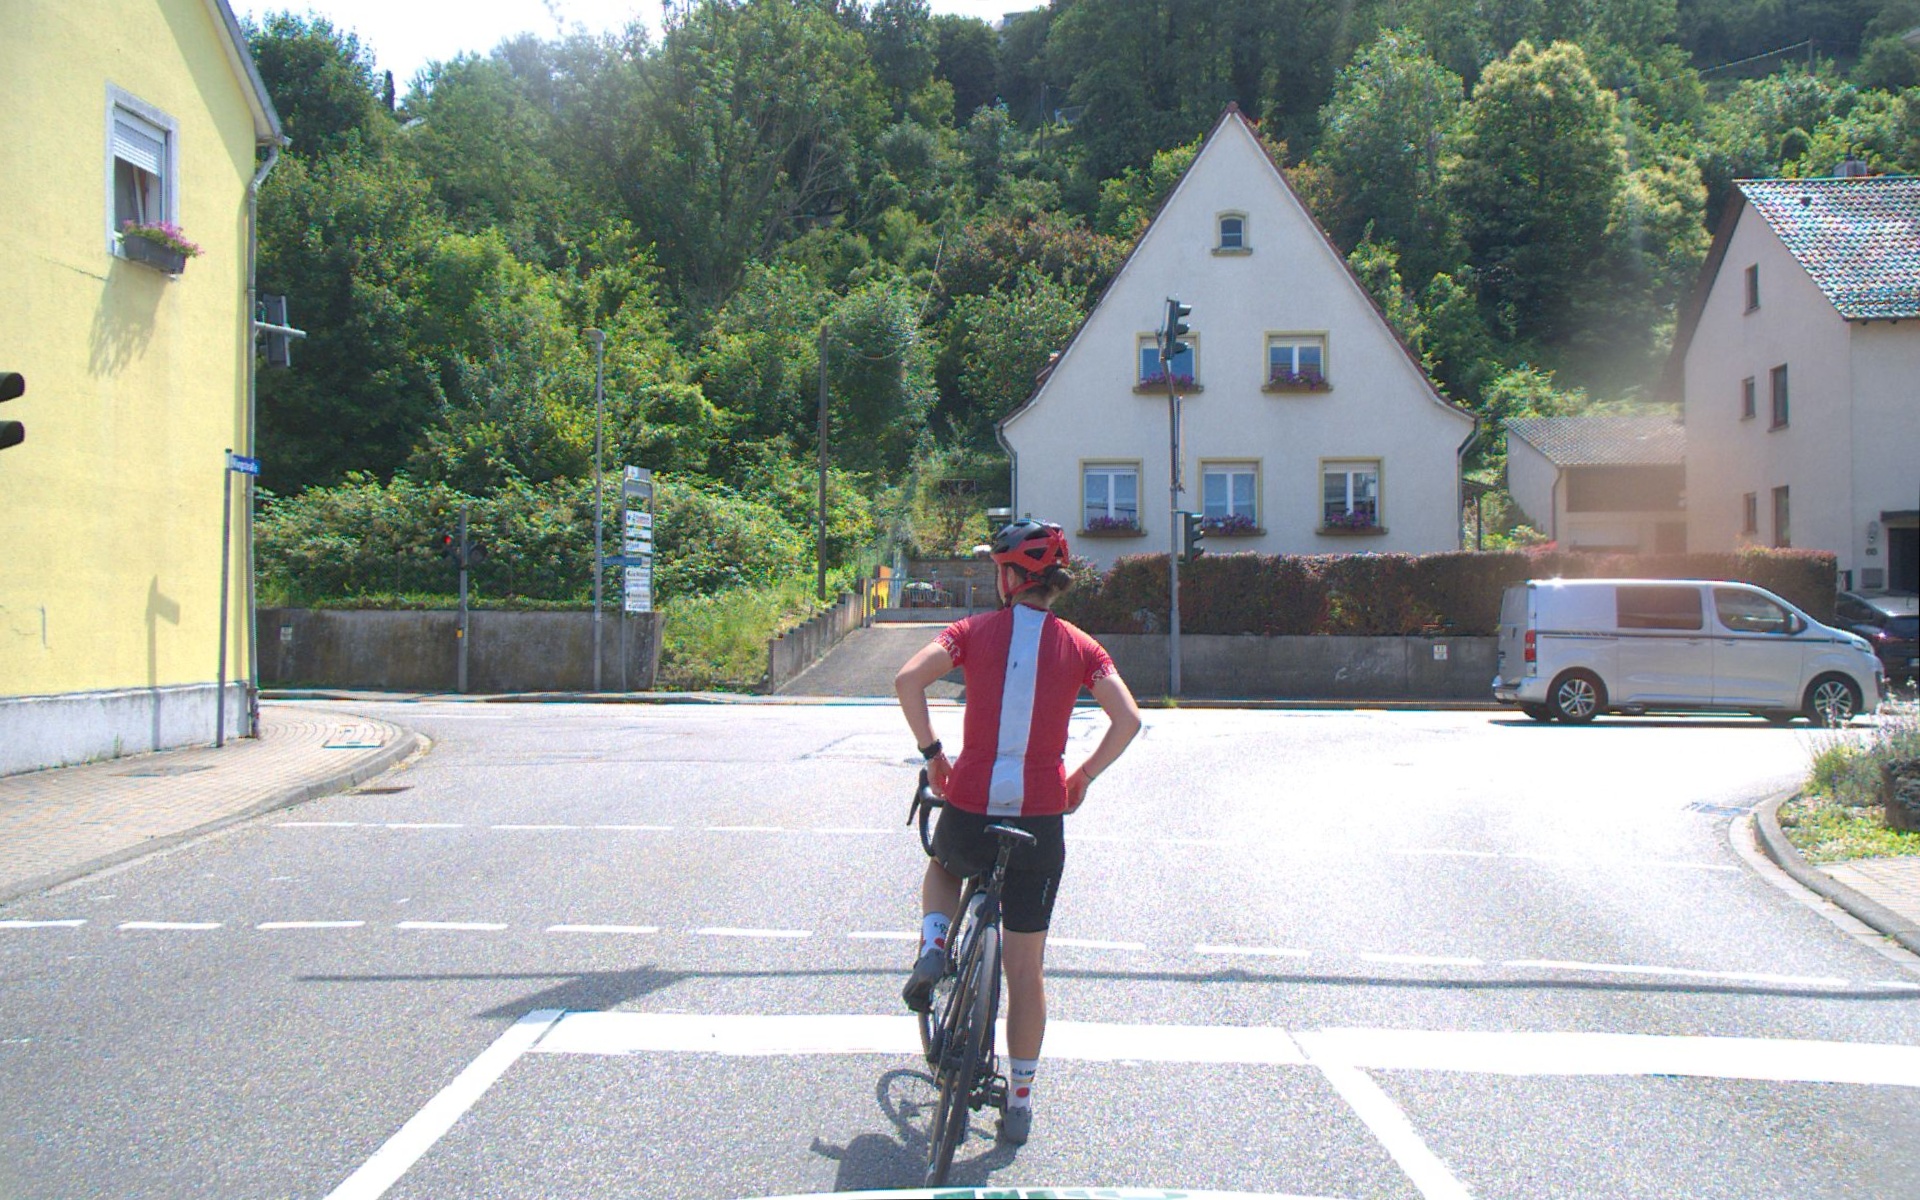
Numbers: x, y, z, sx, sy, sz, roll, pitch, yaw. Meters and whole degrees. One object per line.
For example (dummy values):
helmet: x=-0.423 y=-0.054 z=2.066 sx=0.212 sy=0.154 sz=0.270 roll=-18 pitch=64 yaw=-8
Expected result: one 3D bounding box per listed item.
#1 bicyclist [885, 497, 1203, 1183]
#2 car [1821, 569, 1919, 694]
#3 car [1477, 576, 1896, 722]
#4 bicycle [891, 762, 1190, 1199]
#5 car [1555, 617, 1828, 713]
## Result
bicyclist: x=0.192 y=0.600 z=4.548 sx=0.746 sy=1.693 sz=0.868 roll=1 pitch=0 yaw=-4
car: x=17.320 y=0.530 z=30.739 sx=1.758 sy=1.411 sz=3.696 roll=0 pitch=14 yaw=19
car: x=9.660 y=0.660 z=22.334 sx=4.770 sy=1.854 sz=2.001 roll=0 pitch=-2 yaw=4
bicycle: x=0.147 y=0.990 z=4.531 sx=0.617 sy=0.920 sz=1.656 roll=1 pitch=0 yaw=-4
car: x=11.317 y=1.015 z=25.761 sx=3.533 sy=1.387 sz=1.645 roll=1 pitch=-3 yaw=3
